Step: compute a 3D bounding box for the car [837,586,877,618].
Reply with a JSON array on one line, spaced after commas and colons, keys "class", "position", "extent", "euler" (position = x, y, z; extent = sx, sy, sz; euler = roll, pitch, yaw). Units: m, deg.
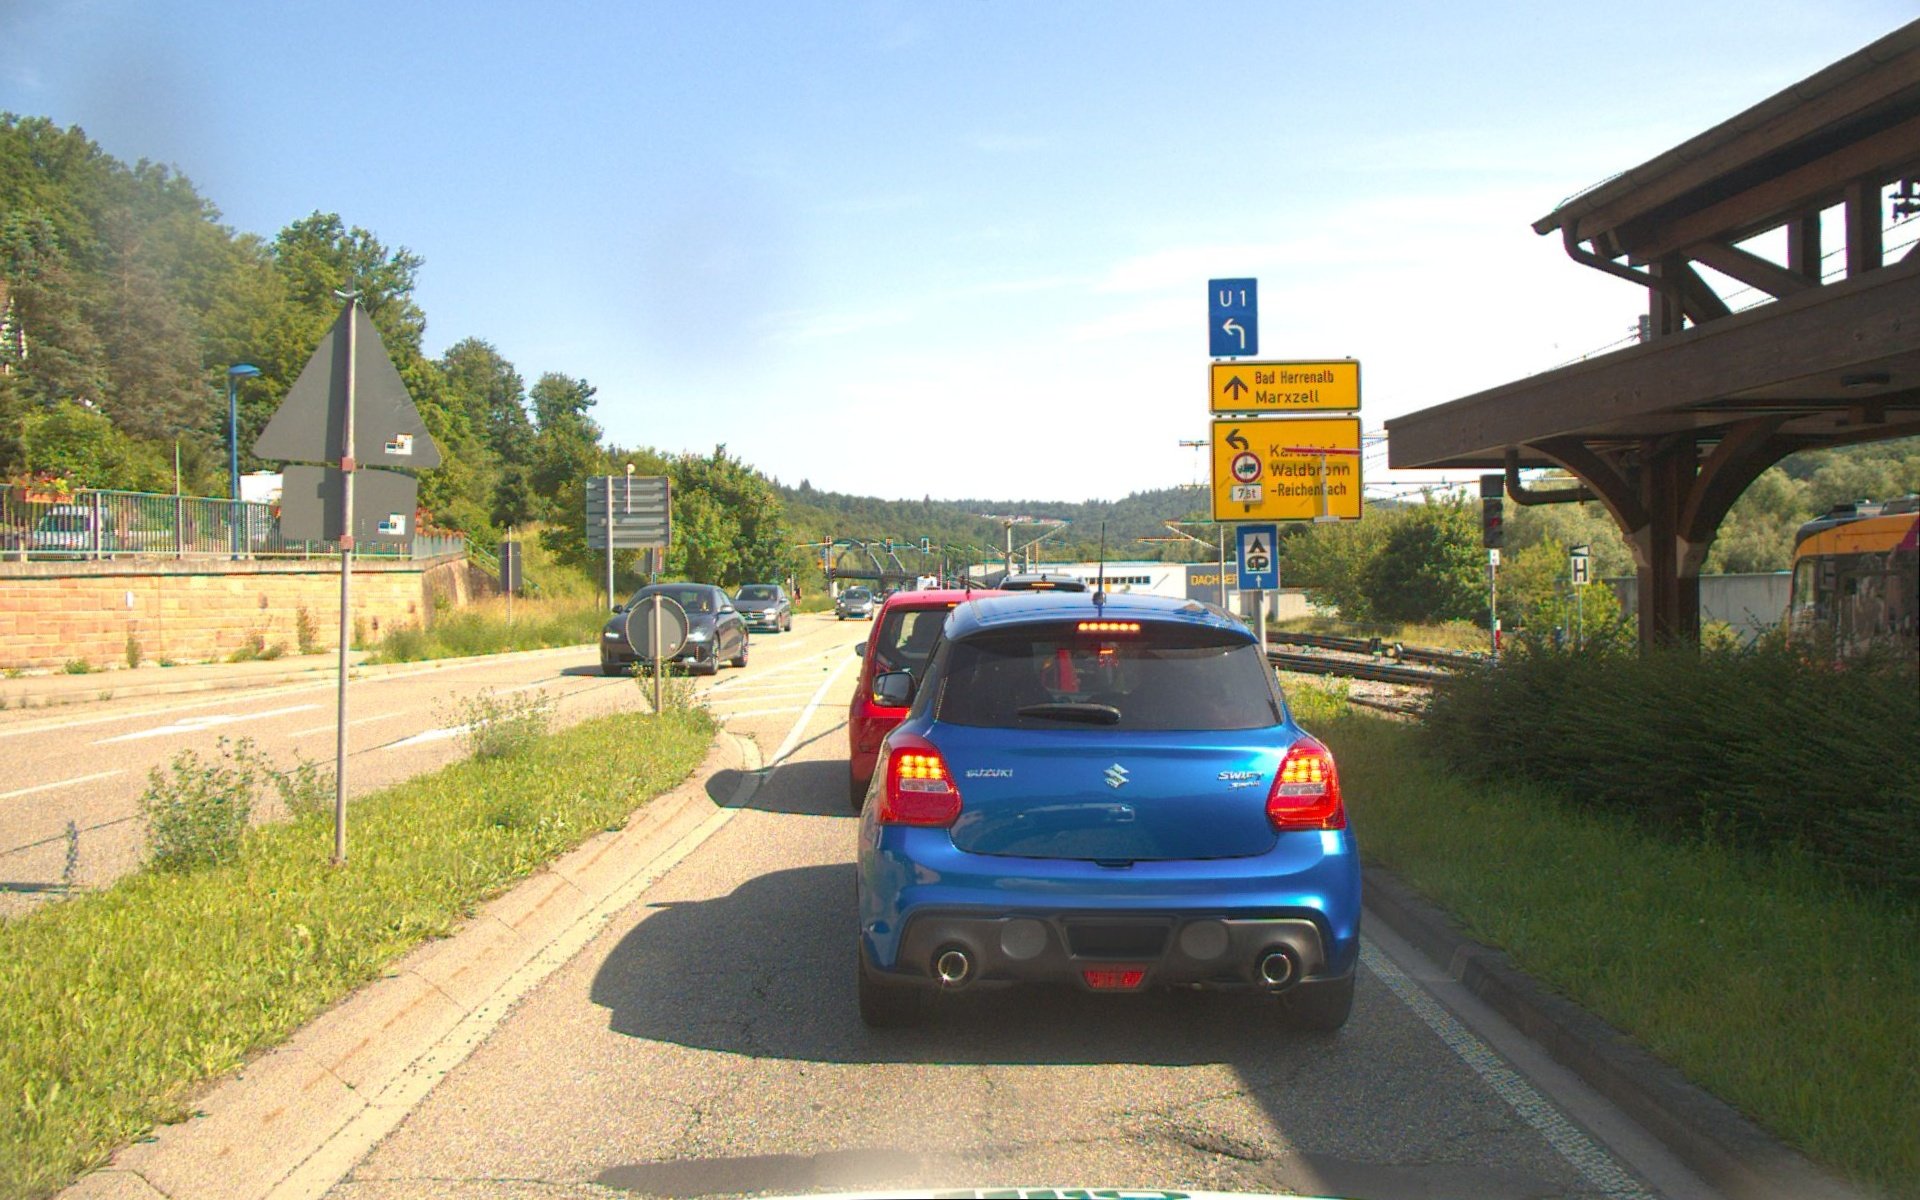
[{"class": "car", "position": [-4.896, 0.081, 79.032], "extent": [1.637, 1.466, 3.840], "euler": [1, 0, 1]}]

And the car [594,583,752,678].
[{"class": "car", "position": [-4.827, 0.460, 28.462], "extent": [1.754, 1.496, 4.717], "euler": [0, 1, 2]}]

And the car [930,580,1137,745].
[{"class": "car", "position": [0.726, 0.568, 17.977], "extent": [1.952, 1.558, 4.602], "euler": [0, 1, 1]}]

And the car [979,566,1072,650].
[{"class": "car", "position": [1.454, 0.155, 38.028], "extent": [1.952, 1.766, 4.000], "euler": [2, 1, 1]}]

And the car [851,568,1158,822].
[{"class": "car", "position": [0.312, 0.610, 12.702], "extent": [1.952, 1.598, 4.000], "euler": [1, 0, 1]}]

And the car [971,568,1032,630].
[{"class": "car", "position": [1.461, -0.066, 59.241], "extent": [1.953, 2.048, 4.000], "euler": [2, 1, -1]}]

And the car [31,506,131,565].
[{"class": "car", "position": [-26.152, -1.885, 49.329], "extent": [1.864, 1.658, 3.982], "euler": [0, 1, -16]}]

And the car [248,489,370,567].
[{"class": "car", "position": [-17.733, -1.927, 45.287], "extent": [1.982, 1.953, 4.724], "euler": [2, 1, -7]}]

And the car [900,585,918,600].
[{"class": "car", "position": [-5.628, -0.823, 182.611], "extent": [1.953, 1.581, 4.214], "euler": [1, 0, -1]}]

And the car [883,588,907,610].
[{"class": "car", "position": [-5.486, -0.113, 139.949], "extent": [1.953, 1.814, 3.999], "euler": [1, 0, -1]}]

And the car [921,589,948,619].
[{"class": "car", "position": [-1.879, 0.266, 121.729], "extent": [1.953, 2.048, 4.000], "euler": [2, 1, -1]}]

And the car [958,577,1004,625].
[{"class": "car", "position": [0.923, 0.023, 75.863], "extent": [1.953, 2.048, 4.000], "euler": [2, 1, -1]}]

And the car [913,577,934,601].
[{"class": "car", "position": [-3.418, -1.037, 156.263], "extent": [1.953, 2.181, 4.719], "euler": [1, 0, -1]}]

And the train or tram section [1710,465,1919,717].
[{"class": "train or tram section", "position": [14.411, -0.075, 22.067], "extent": [2.701, 3.422, 12.042], "euler": [2, 1, -3]}]

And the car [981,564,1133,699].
[{"class": "car", "position": [1.311, 0.396, 24.070], "extent": [1.952, 1.716, 4.497], "euler": [2, 1, 1]}]

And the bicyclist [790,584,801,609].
[{"class": "bicyclist", "position": [-10.542, -0.227, 106.017], "extent": [0.617, 1.533, 0.505], "euler": [2, 1, -4]}]

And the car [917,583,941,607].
[{"class": "car", "position": [-2.649, -0.415, 140.330], "extent": [1.953, 1.848, 4.000], "euler": [2, 1, -1]}]

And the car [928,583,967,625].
[{"class": "car", "position": [-0.664, 0.186, 87.665], "extent": [1.953, 2.048, 4.000], "euler": [2, 1, -1]}]

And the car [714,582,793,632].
[{"class": "car", "position": [-6.775, 0.196, 54.799], "extent": [1.952, 1.591, 4.510], "euler": [0, 1, 1]}]

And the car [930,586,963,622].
[{"class": "car", "position": [-0.849, 0.225, 102.727], "extent": [1.953, 2.048, 4.000], "euler": [2, 1, -1]}]

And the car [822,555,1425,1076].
[{"class": "car", "position": [0.451, 0.642, 7.034], "extent": [1.831, 1.575, 3.999], "euler": [1, 0, -2]}]
